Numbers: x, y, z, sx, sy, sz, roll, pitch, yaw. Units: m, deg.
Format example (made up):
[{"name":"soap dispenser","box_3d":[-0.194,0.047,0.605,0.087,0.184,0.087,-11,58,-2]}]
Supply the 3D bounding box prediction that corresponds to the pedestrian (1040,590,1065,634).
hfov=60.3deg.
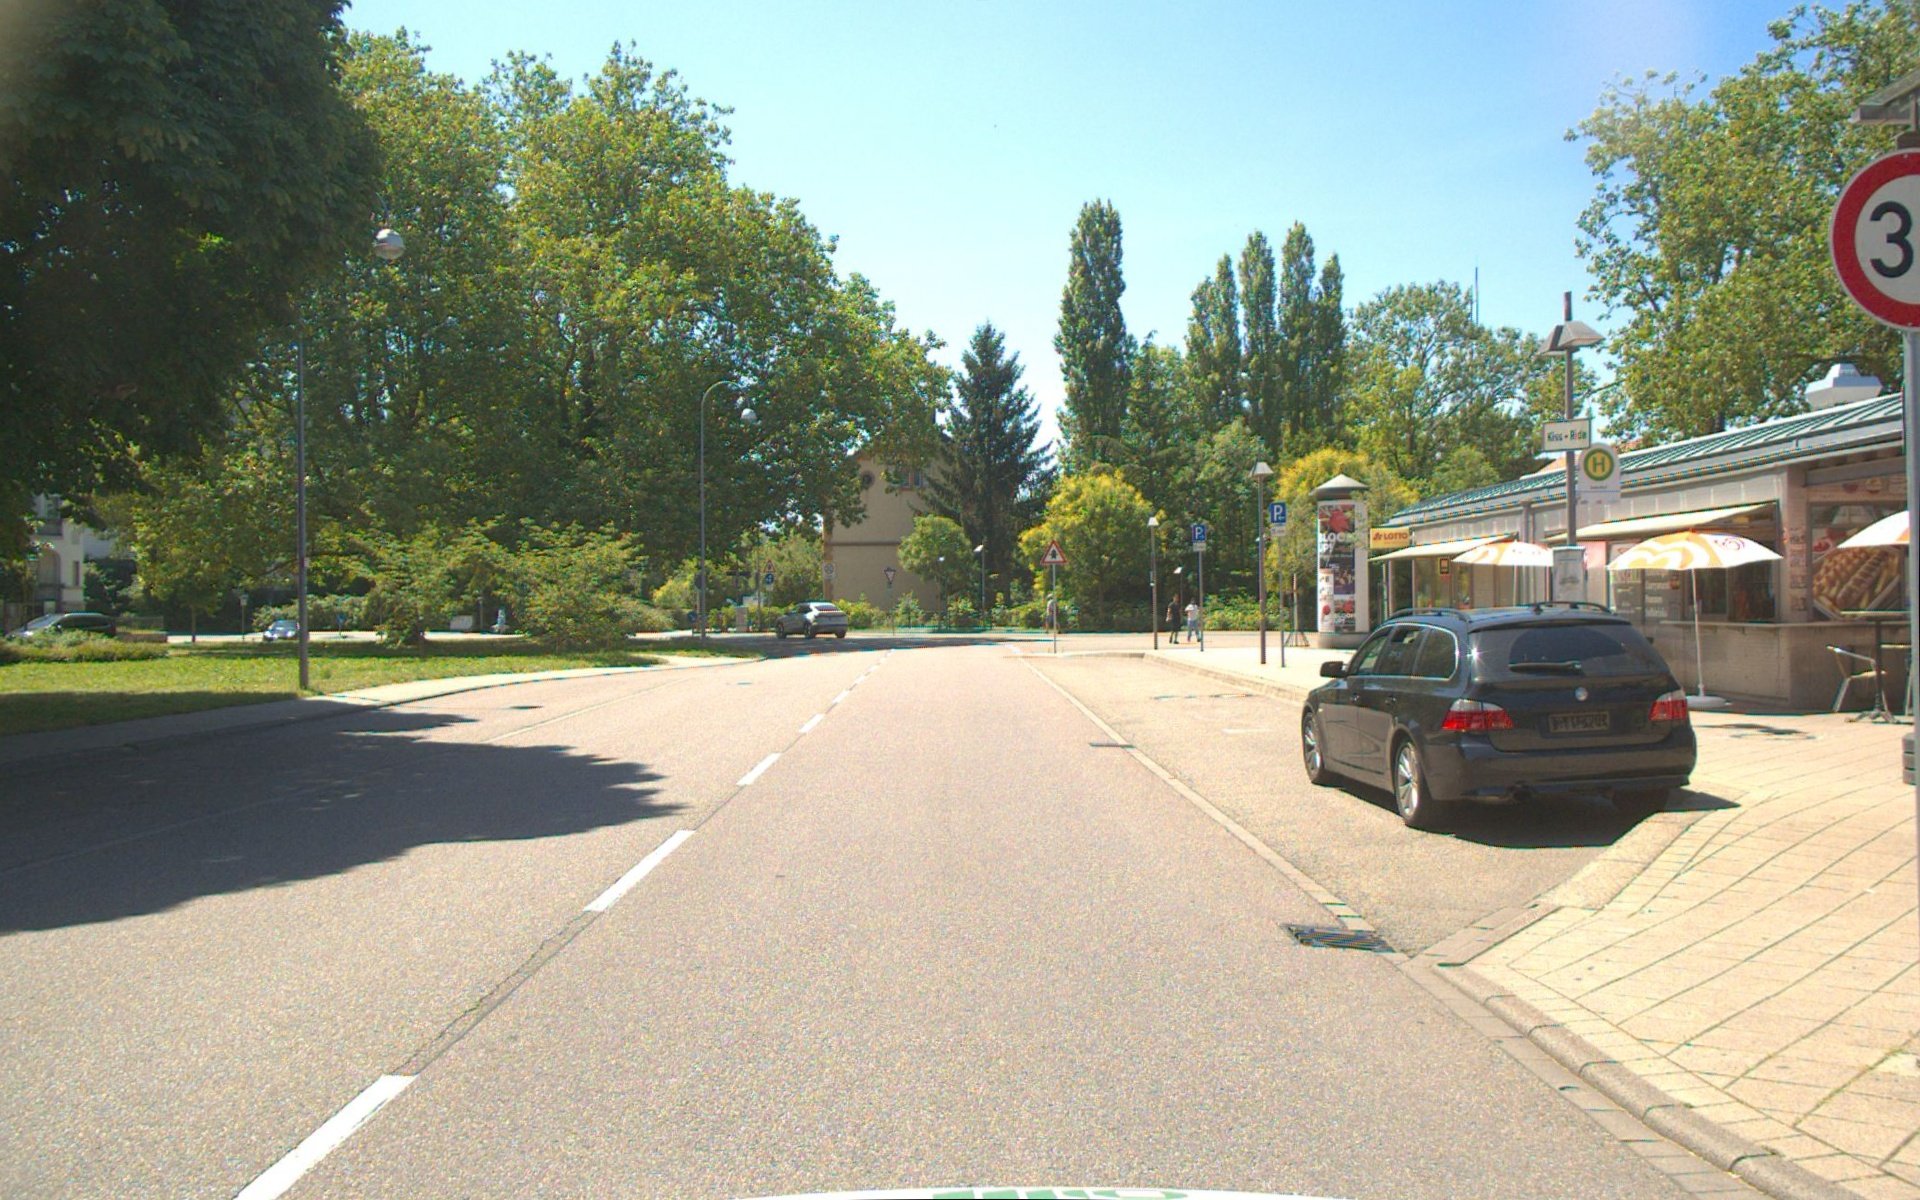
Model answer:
[{"name":"pedestrian","box_3d":[4.237,0.550,75.965,0.841,2.000,0.802,-1,-1,39]}]

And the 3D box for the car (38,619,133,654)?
[{"name":"car","box_3d":[-38.136,1.590,72.213,1.517,1.435,3.805,-1,0,14]}]

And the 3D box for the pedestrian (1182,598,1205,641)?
[{"name":"pedestrian","box_3d":[9.081,0.766,64.335,0.706,1.678,0.750,-1,-3,27]}]

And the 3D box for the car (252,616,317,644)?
[{"name":"car","box_3d":[-35.044,1.549,85.908,1.780,1.333,3.987,-1,0,-2]}]

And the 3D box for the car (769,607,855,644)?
[{"name":"car","box_3d":[-6.978,1.173,77.685,1.966,1.655,4.720,-1,0,-35]}]

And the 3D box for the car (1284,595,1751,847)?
[{"name":"car","box_3d":[4.016,0.780,12.888,1.888,1.486,4.723,-3,0,-1]}]

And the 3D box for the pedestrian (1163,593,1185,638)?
[{"name":"pedestrian","box_3d":[8.158,0.608,62.970,0.623,1.678,0.750,-1,-3,27]}]
